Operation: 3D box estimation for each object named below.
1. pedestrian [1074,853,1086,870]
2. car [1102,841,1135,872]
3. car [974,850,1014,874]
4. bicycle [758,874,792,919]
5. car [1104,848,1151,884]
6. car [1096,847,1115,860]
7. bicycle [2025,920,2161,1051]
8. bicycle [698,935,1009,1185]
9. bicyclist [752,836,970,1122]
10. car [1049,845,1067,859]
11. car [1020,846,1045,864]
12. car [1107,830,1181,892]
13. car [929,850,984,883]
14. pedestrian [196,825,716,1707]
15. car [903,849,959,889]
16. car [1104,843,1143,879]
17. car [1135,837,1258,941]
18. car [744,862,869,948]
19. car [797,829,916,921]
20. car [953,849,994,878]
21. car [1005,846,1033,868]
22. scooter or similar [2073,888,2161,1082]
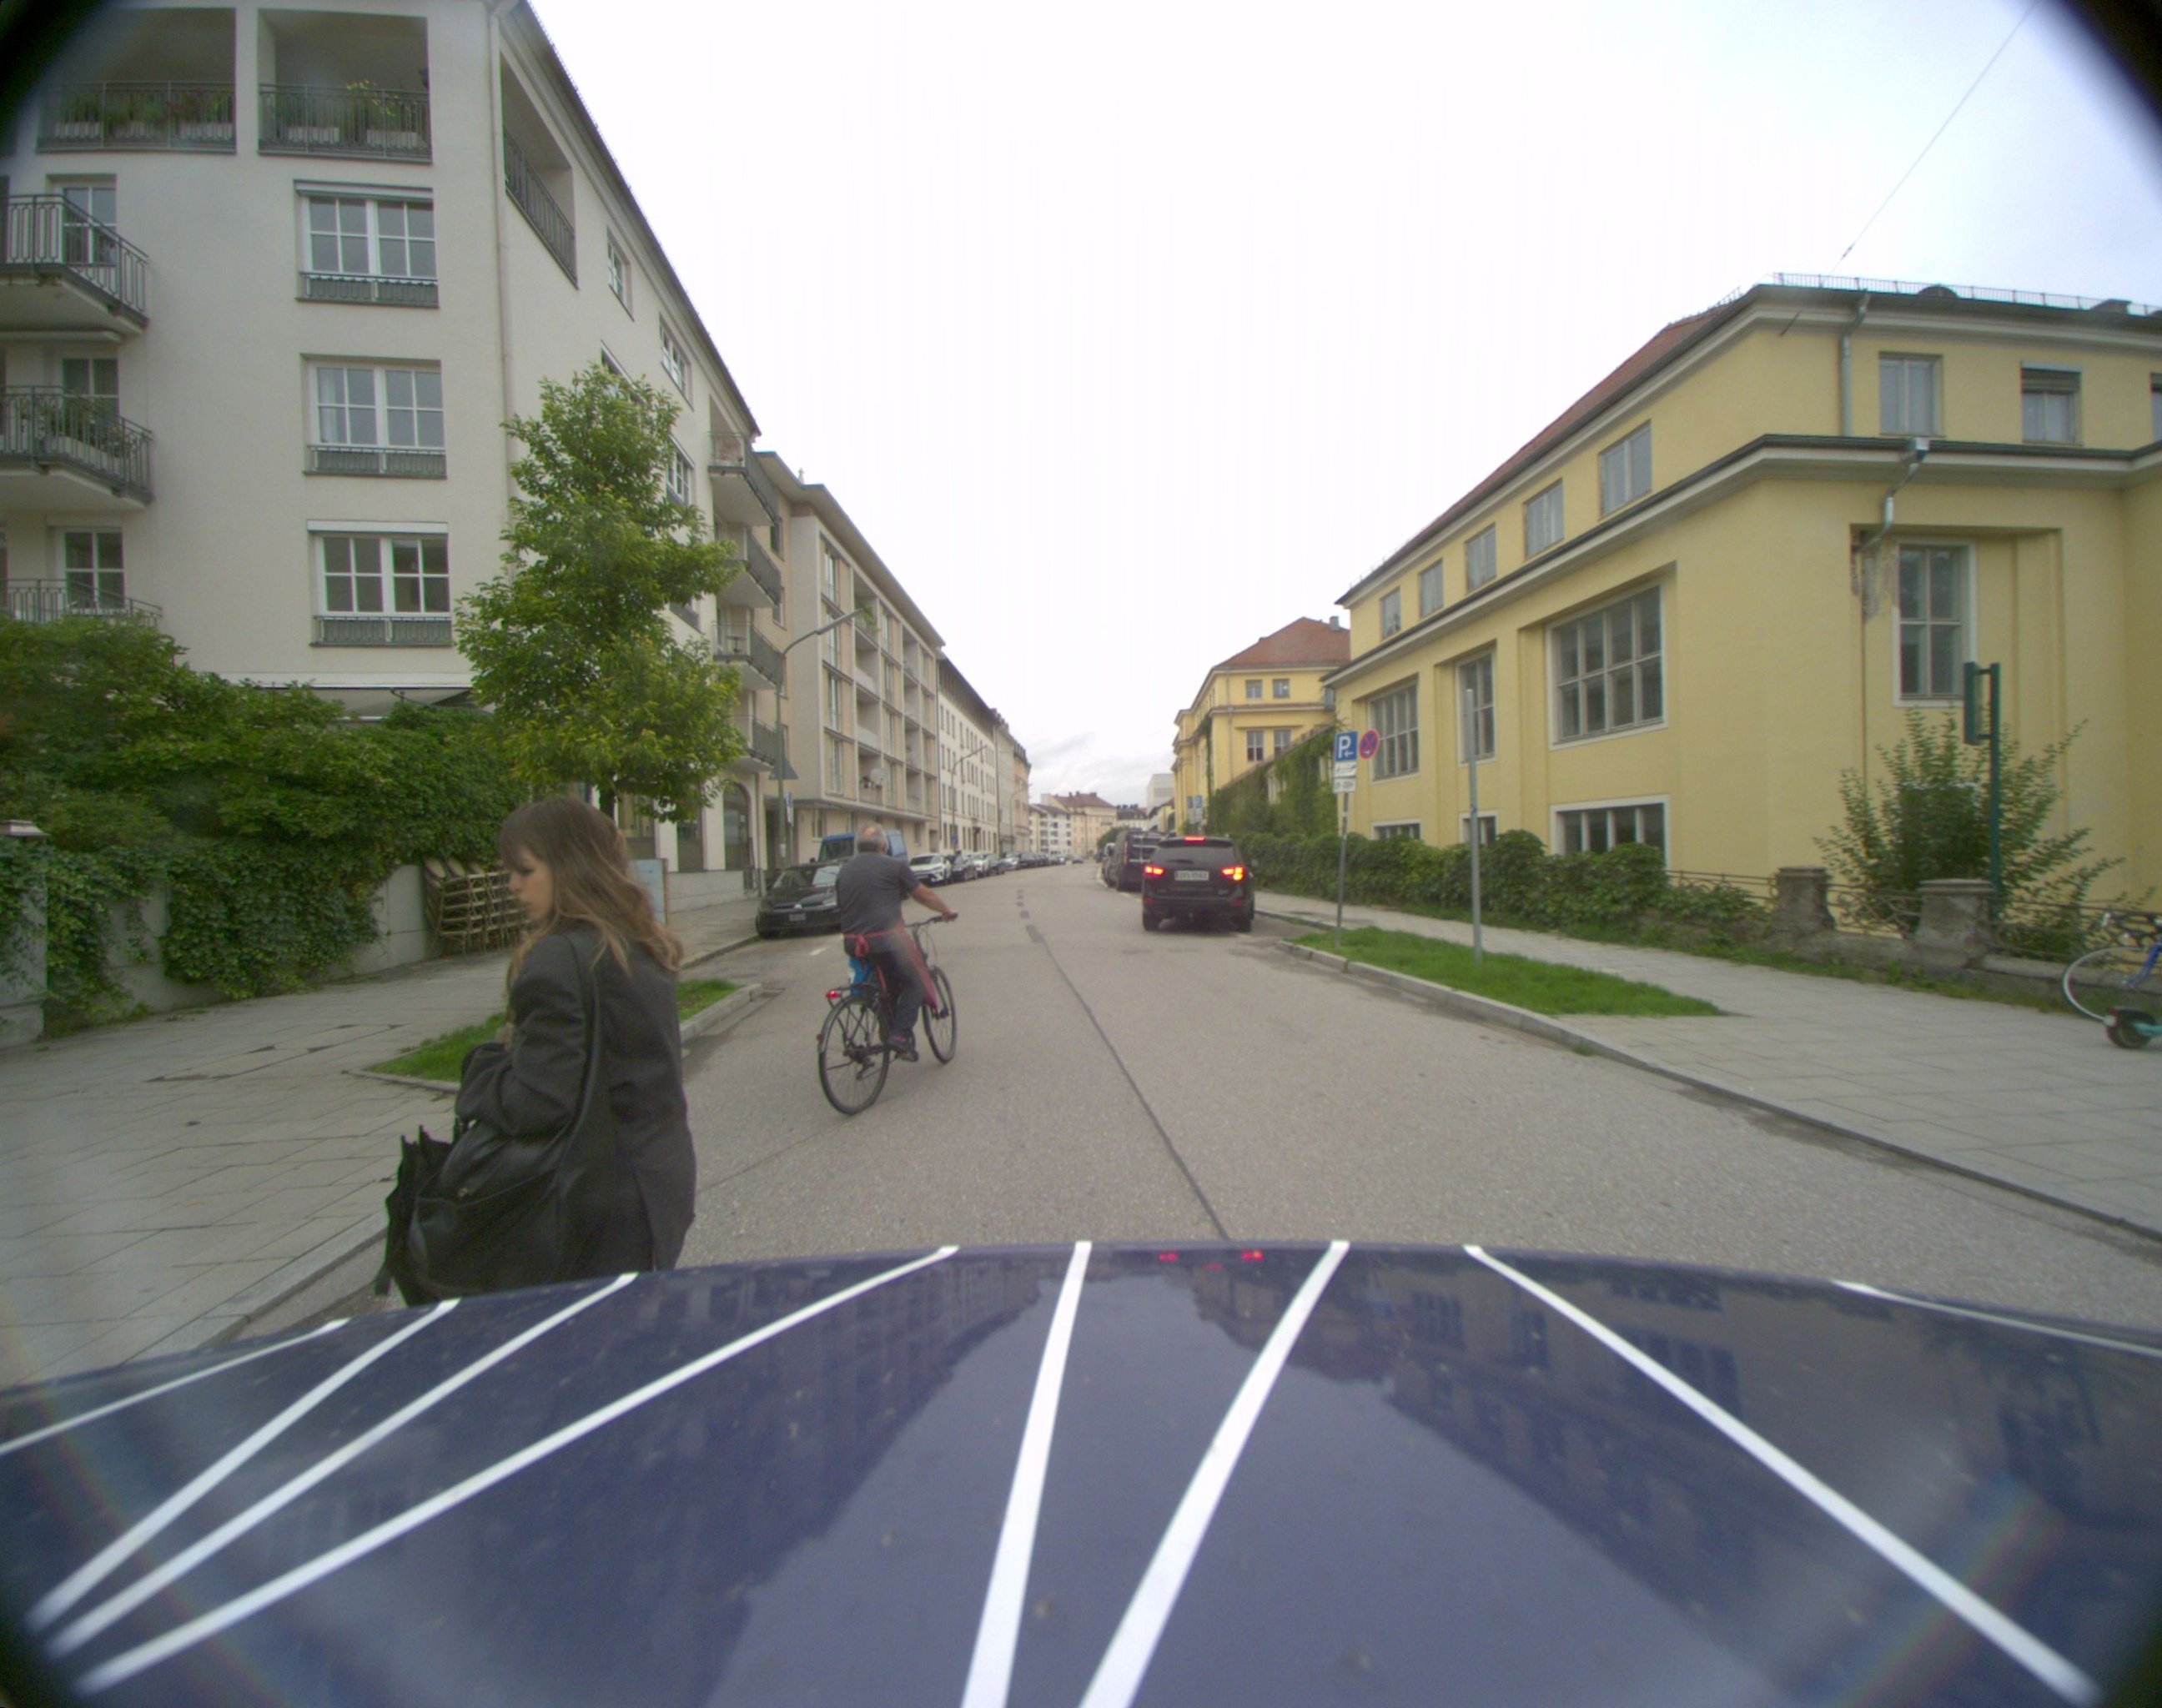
[{"bbox_3d":[-0.115,1.284,130.032,1.929,2.933,2.025,0,0,2],"label":"pedestrian"},{"bbox_3d":[2.328,0.145,48.303,1.897,1.788,4.881,3,0,2],"label":"car"},{"bbox_3d":[-5.603,0.478,49.438,1.831,1.373,4.491,-4,0,2],"label":"car"},{"bbox_3d":[-7.882,1.063,19.630,0.567,1.063,1.785,-1,0,-15],"label":"bicycle"},{"bbox_3d":[1.929,0.498,32.453,1.711,1.357,4.001,3,0,0],"label":"car"},{"bbox_3d":[4.722,-0.126,147.671,2.848,2.536,6.890,-1,0,-4],"label":"car"},{"bbox_3d":[8.294,1.031,5.768,0.435,0.888,1.327,-2,3,-25],"label":"bicycle"},{"bbox_3d":[-1.309,1.165,5.001,0.877,1.013,2.193,-1,0,16],"label":"bicycle"},{"bbox_3d":[-1.348,0.704,4.860,0.876,1.600,1.050,-1,1,15],"label":"bicyclist"},{"bbox_3d":[-2.846,-0.244,94.095,1.768,1.531,4.001,-4,0,3],"label":"car"},{"bbox_3d":[-4.419,0.093,70.152,1.878,1.439,4.700,-3,0,1],"label":"car"},{"bbox_3d":[2.133,0.220,26.962,1.931,1.967,4.621,1,0,-4],"label":"car"},{"bbox_3d":[-6.351,0.596,39.234,1.776,1.421,4.693,-6,0,2],"label":"car"},{"bbox_3d":[-1.037,0.805,1.431,0.544,1.687,0.665,0,1,-18],"label":"pedestrian"},{"bbox_3d":[-6.633,0.631,34.097,1.780,1.514,4.302,-6,0,-4],"label":"car"},{"bbox_3d":[2.046,0.318,37.604,1.706,1.597,4.491,2,0,1],"label":"car"},{"bbox_3d":[2.293,0.583,15.001,1.997,1.709,4.618,-1,0,9],"label":"car"},{"bbox_3d":[-5.698,0.974,16.268,1.720,1.387,3.996,-5,1,-9],"label":"car"},{"bbox_3d":[-6.439,0.459,22.506,2.115,2.201,5.024,-6,3,-4],"label":"car"},{"bbox_3d":[-6.230,0.506,44.417,1.706,1.460,4.119,-6,1,0],"label":"car"},{"bbox_3d":[-4.900,0.241,60.478,1.618,1.508,3.380,-5,0,3],"label":"car"},{"bbox_3d":[7.622,0.859,5.098,1.263,1.237,0.394,-1,3,5],"label":"scooter or similar"}]
